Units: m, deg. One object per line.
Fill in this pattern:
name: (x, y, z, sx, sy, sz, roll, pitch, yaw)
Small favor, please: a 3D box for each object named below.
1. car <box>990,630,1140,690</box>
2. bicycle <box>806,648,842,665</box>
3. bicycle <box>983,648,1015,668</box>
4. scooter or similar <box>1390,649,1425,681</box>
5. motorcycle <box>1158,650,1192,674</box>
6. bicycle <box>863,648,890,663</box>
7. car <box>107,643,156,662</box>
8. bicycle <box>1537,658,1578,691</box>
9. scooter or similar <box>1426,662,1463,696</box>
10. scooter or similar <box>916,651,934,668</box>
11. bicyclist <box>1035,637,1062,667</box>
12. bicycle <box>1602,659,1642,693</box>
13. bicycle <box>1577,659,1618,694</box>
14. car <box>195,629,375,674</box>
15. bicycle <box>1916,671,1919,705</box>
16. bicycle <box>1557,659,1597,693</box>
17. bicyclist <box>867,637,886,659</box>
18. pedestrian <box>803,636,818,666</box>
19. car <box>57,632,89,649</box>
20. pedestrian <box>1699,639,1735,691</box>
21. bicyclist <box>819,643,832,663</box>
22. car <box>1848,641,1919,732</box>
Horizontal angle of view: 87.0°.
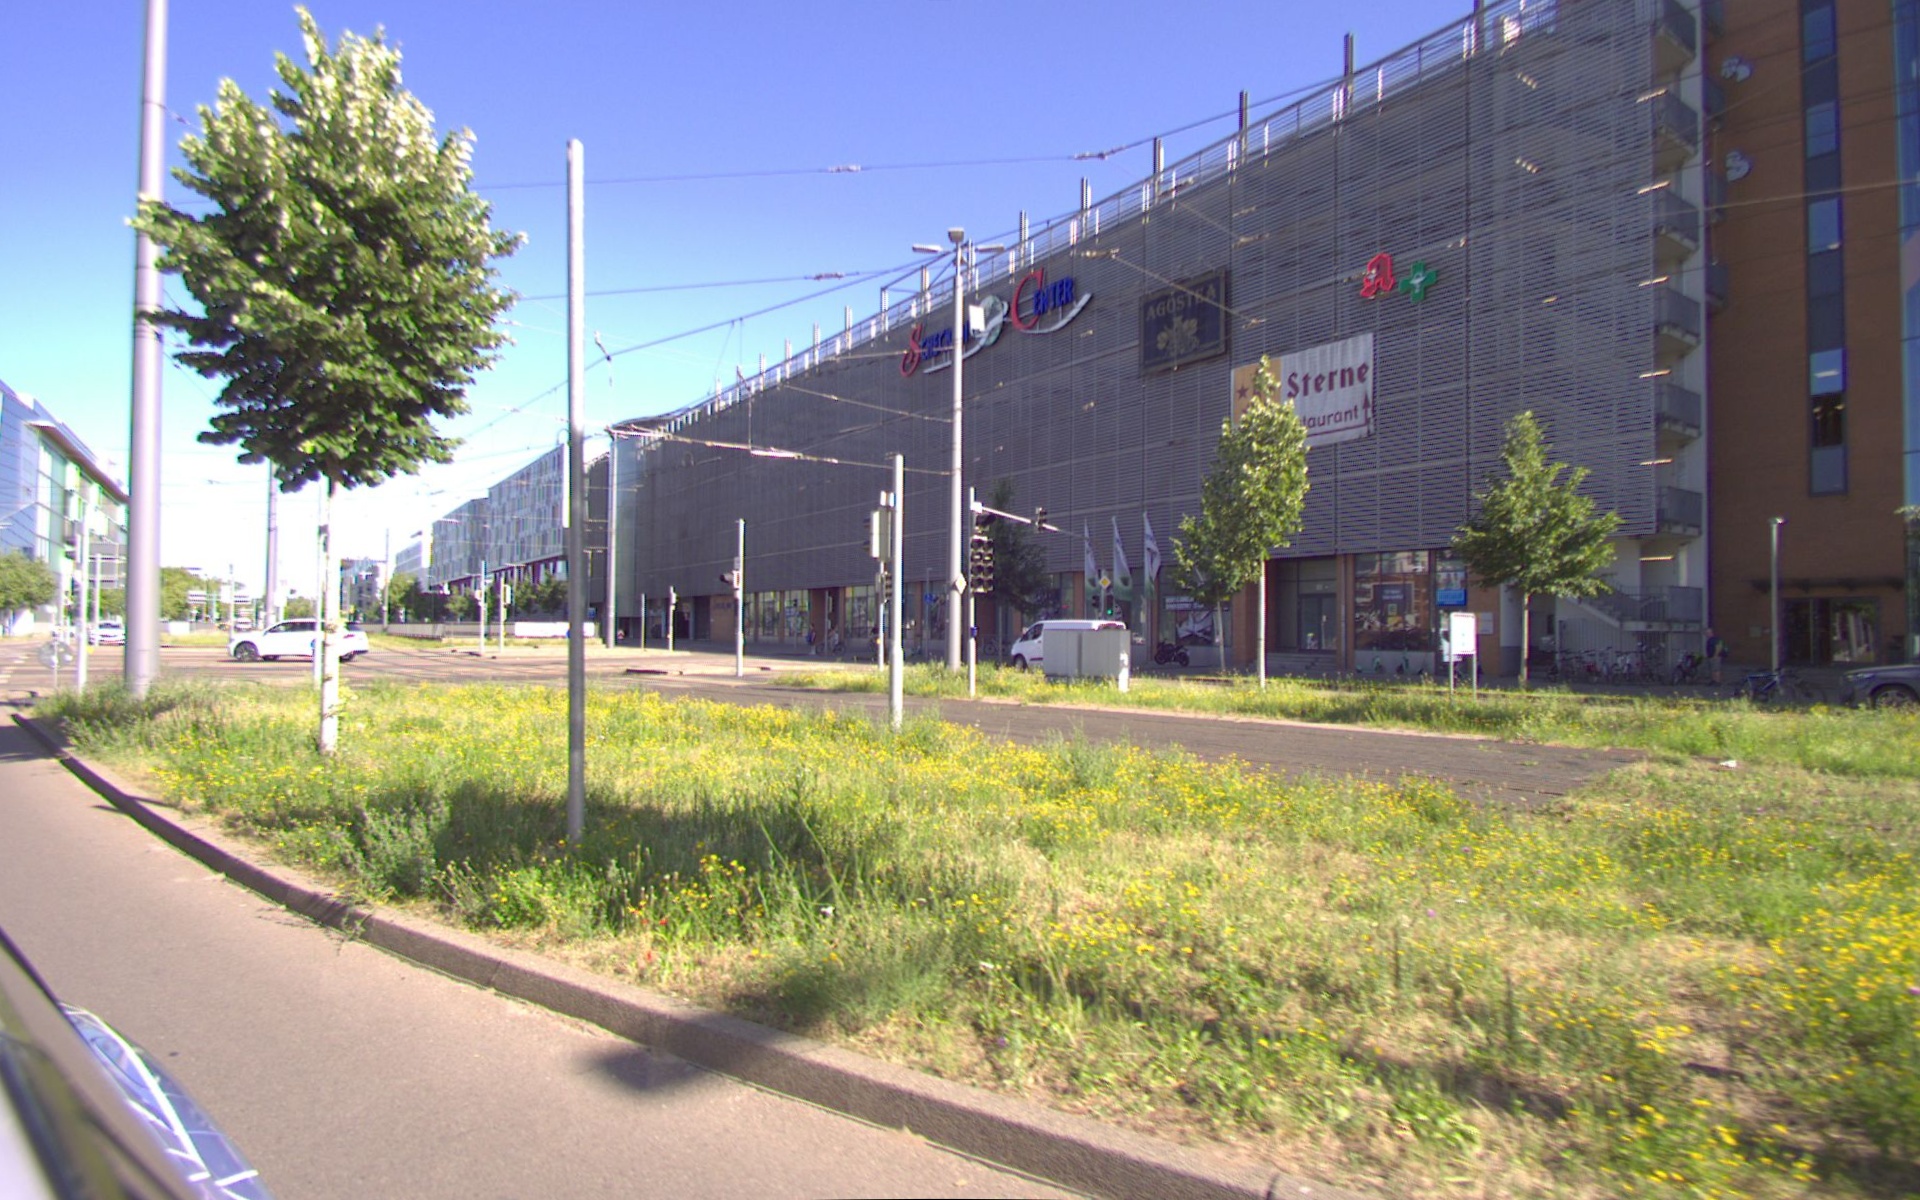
car: (3.780, 2.133, 37.051, 5.258, 2.029, 2.195, -2, -3, 44)
bicycle: (-7.851, 3.262, 58.455, 2.007, 0.993, 0.556, 0, -2, 21)
bicycle: (2.094, 3.133, 54.569, 0.564, 1.046, 1.954, 2, -3, -40)
scooter or similar: (16.478, 2.370, 37.248, 0.272, 1.111, 1.209, 2, -2, -34)
motorcycle: (9.481, 2.724, 44.610, 0.395, 1.046, 1.623, 2, -3, -36)
bicycle: (-5.218, 3.452, 62.793, 0.671, 0.874, 2.052, 2, -3, -37)
car: (-50.535, 3.173, 61.770, 1.967, 1.098, 4.010, 2, -3, -35)
bicycle: (19.136, 2.366, 32.392, 2.147, 0.962, 0.493, 1, -2, -42)
scooter or similar: (17.182, 2.786, 35.897, 0.272, 1.111, 1.209, 2, -2, -34)
scooter or similar: (-1.851, 3.145, 53.356, 0.296, 0.857, 1.229, 2, -3, -39)
bicyclist: (4.166, 2.439, 47.813, 0.584, 1.418, 1.315, 2, -3, -35)
bicycle: (20.326, 2.312, 31.054, 2.147, 0.962, 0.493, 1, -2, -42)
bicycle: (19.881, 2.369, 31.546, 2.147, 0.962, 0.493, 1, -2, -42)
car: (-25.796, 1.962, 38.835, 5.458, 1.665, 1.817, 1, -2, -8)
bicycle: (25.160, 2.278, 26.232, 1.429, 0.825, 0.446, 1, -2, -42)
bicycle: (19.511, 2.382, 31.979, 2.147, 0.962, 0.493, 1, -2, -42)
bicyclist: (-5.187, 2.977, 62.773, 0.671, 1.328, 1.042, 2, -3, -37)
pedestrian: (-8.955, 3.063, 60.491, 0.624, 1.765, 0.582, -1, -3, 35)
car: (-92.627, 4.186, 105.721, 1.967, 1.741, 4.010, 2, -3, -35)
pedestrian: (23.073, 1.966, 30.852, 0.626, 1.565, 0.663, 2, -3, -30)
bicyclist: (-7.751, 3.061, 58.430, 0.559, 1.148, 0.556, 0, -2, 21)
car: (19.561, 1.631, 18.781, 4.539, 1.694, 1.971, -2, -3, 44)
